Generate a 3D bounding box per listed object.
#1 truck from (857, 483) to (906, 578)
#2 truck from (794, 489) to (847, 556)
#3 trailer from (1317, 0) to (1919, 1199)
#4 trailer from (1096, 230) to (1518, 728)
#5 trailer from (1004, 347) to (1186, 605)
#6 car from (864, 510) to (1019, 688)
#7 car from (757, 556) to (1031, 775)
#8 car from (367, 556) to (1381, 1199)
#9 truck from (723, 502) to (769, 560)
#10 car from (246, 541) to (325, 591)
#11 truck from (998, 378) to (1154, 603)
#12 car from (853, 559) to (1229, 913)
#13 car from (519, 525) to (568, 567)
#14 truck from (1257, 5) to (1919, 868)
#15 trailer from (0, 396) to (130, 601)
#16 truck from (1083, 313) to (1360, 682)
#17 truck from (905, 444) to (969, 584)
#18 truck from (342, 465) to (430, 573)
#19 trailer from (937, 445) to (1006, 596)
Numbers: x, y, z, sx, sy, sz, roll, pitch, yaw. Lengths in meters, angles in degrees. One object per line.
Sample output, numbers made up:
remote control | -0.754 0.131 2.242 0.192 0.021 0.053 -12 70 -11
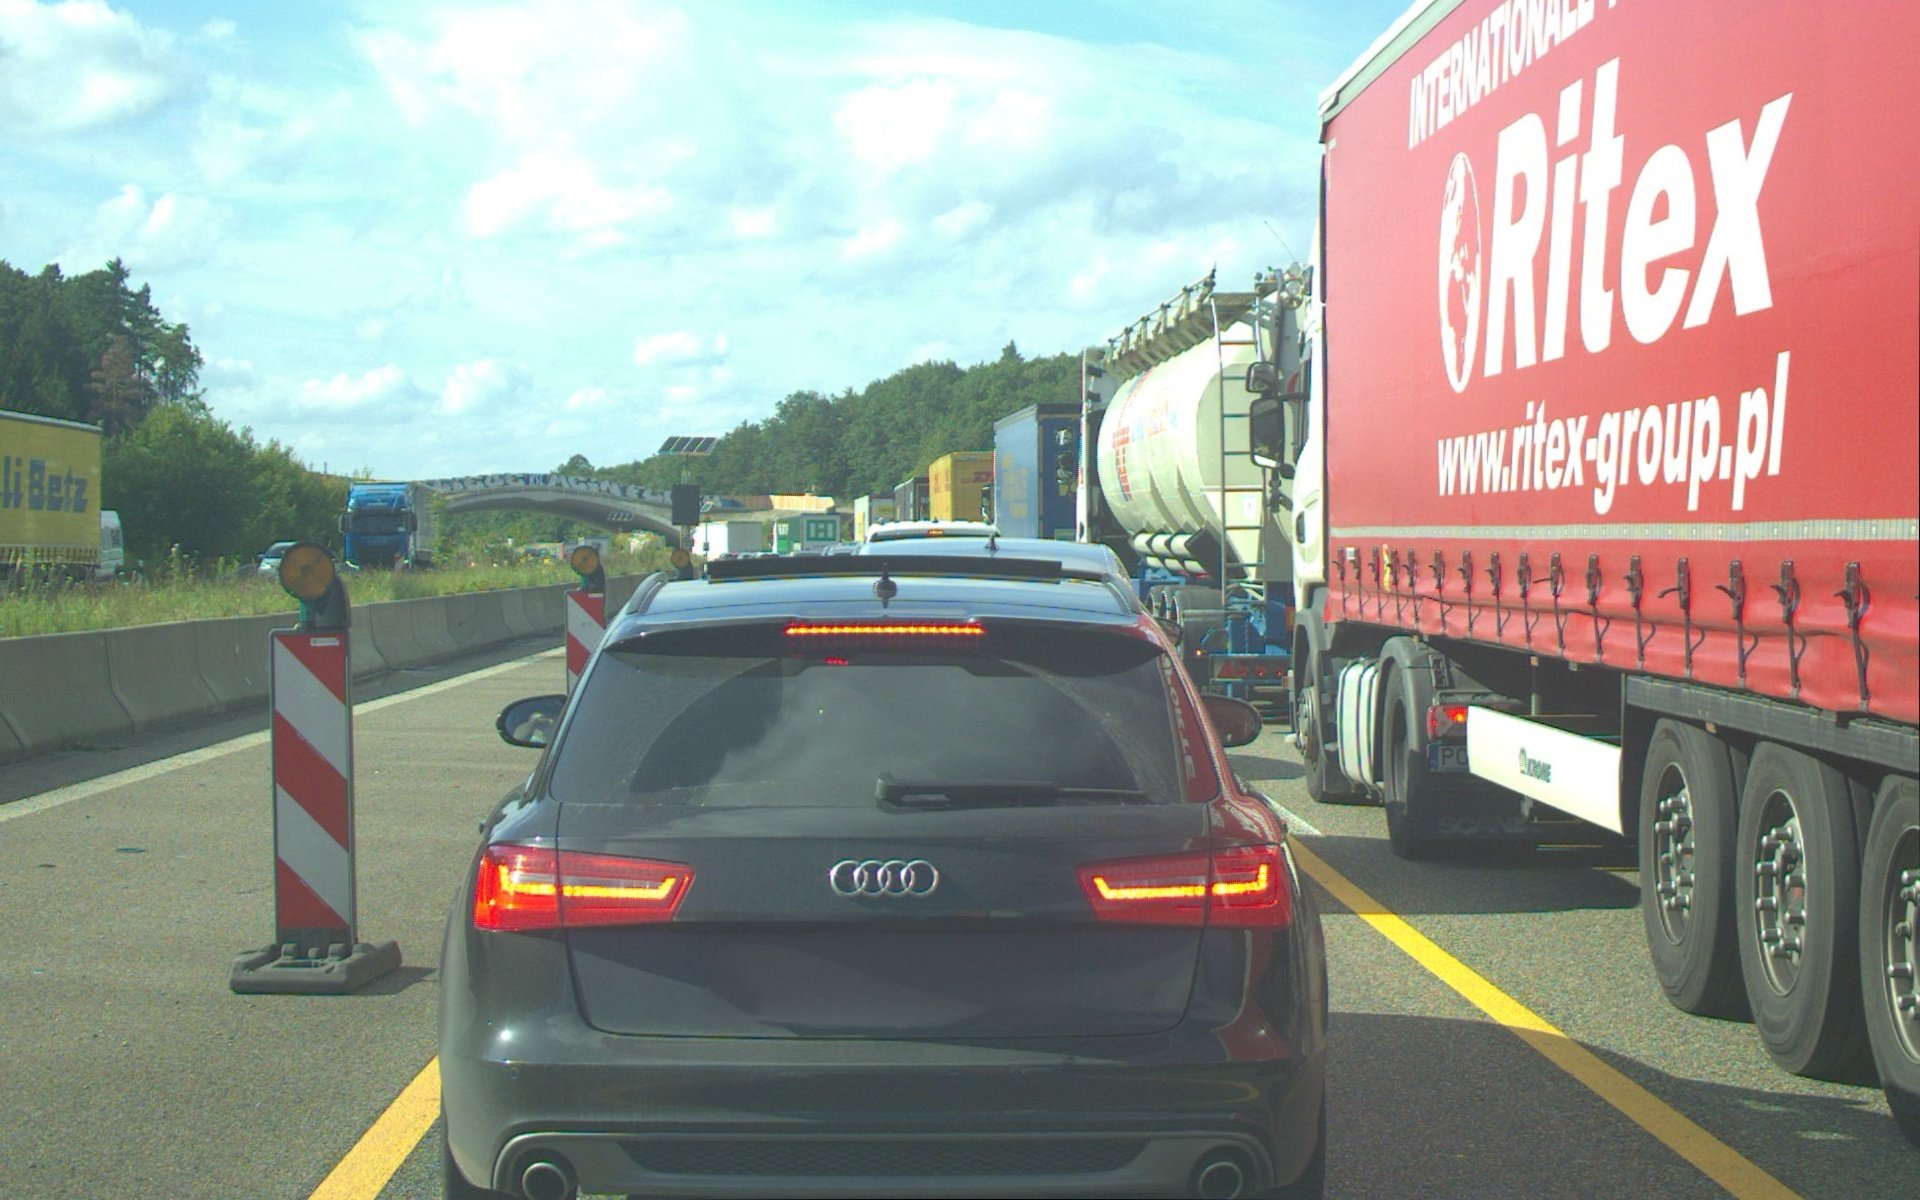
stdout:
truck | -3.600 -3.150 158.424 2.137 4.243 7.072 1 0 -1
truck | -8.985 -4.930 221.227 3.304 4.160 9.703 0 1 -2
trailer | 3.447 -0.673 11.836 2.699 3.955 13.418 1 1 -1
trailer | 3.018 -1.056 33.719 2.644 3.929 12.598 1 1 -1
trailer | 2.393 -2.173 64.445 2.805 4.398 10.433 1 0 -1
car | -0.210 -0.020 37.433 1.581 1.830 3.112 1 0 -1
car | -0.447 0.411 24.038 1.751 1.392 3.608 1 0 -1
car | -0.180 0.638 8.294 1.848 1.458 4.000 0 1 -1
truck | -15.835 -5.108 254.194 3.303 4.160 9.704 1 1 -4
car | -21.732 -1.084 110.919 1.787 1.555 4.000 1 0 -1
truck | 2.315 -2.179 71.333 2.806 4.354 7.792 1 0 -1
car | 0.316 0.547 15.784 1.524 1.434 3.285 1 0 -1
car | -19.635 -2.541 162.178 1.993 1.941 4.000 1 0 -2
truck | 3.288 -0.797 18.711 2.667 3.946 5.711 1 1 -1
trailer | -19.800 -1.994 69.613 2.827 3.909 13.941 1 0 -1
truck | 2.934 -1.134 40.132 2.659 3.958 5.779 1 0 -1
truck | -0.885 -3.122 125.654 1.993 4.897 9.563 1 1 -2
truck | -22.824 -3.211 136.967 2.637 4.175 5.468 1 1 -1
trailer | 0.273 -2.092 92.383 1.616 3.905 6.490 1 0 -1
